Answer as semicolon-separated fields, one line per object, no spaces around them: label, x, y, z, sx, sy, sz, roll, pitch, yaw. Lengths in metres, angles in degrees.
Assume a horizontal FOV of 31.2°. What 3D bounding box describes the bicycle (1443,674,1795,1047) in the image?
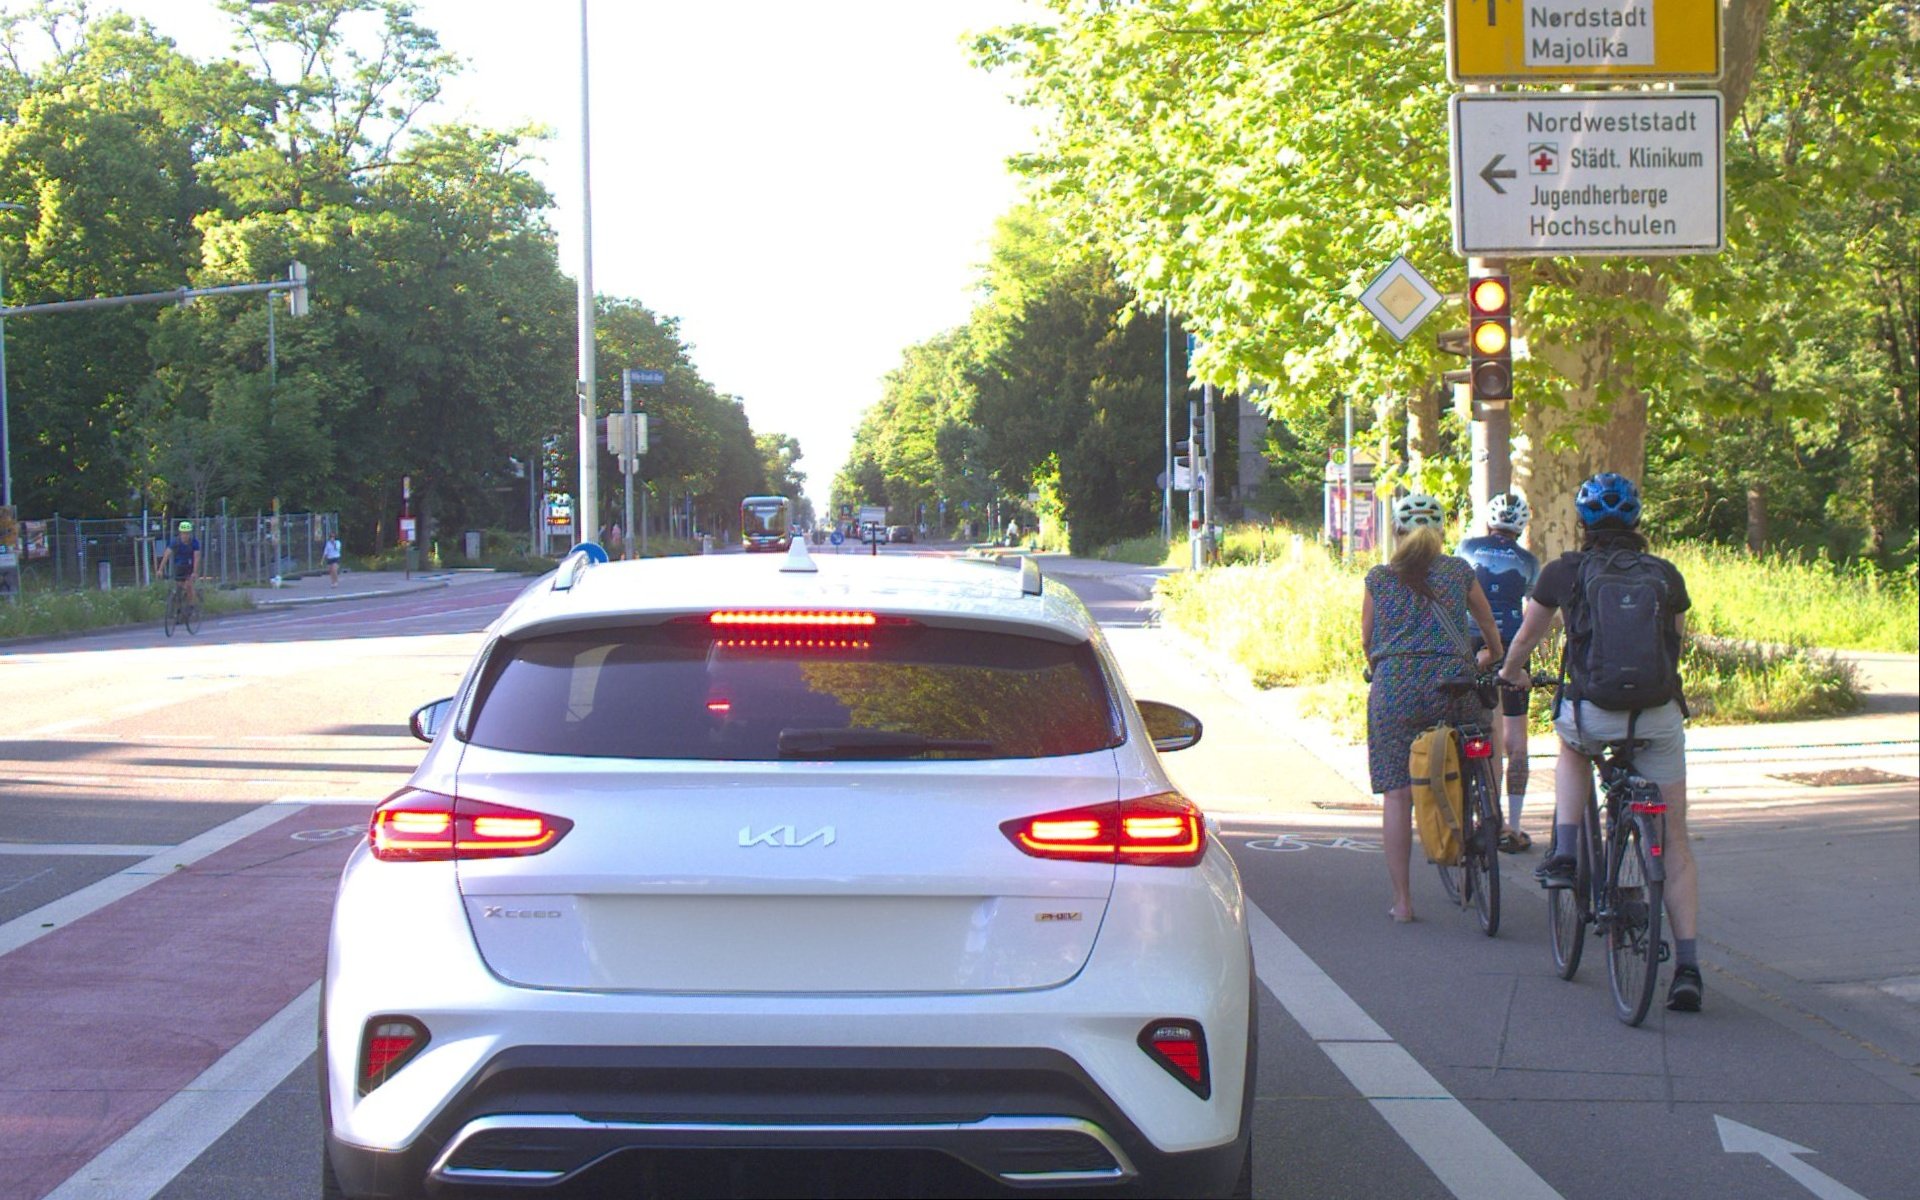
bicycle;2.102;0.797;11.246;0.668;1.006;2.081;1;1;-2

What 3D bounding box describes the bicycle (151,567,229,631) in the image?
bicycle;-12.869;-0.027;57.512;0.663;0.985;2.504;-1;1;2

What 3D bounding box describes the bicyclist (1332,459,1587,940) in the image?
bicyclist;1.936;0.361;13.469;0.753;1.789;1.165;1;1;-2

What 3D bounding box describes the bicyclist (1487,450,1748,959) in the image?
bicyclist;2.120;0.321;11.163;0.665;1.596;0.721;1;1;-2

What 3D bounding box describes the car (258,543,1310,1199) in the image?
car;-0.367;0.625;7.939;1.821;1.475;3.937;0;1;-2

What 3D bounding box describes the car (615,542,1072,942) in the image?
car;-0.516;0.518;15.030;1.728;1.478;3.517;-1;1;-2

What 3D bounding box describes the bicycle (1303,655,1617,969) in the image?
bicycle;1.921;0.780;13.605;0.758;1.009;2.570;1;1;-2

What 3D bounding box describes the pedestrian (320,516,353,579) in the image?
pedestrian;-17.680;-1.490;97.468;0.785;1.779;0.751;0;1;0

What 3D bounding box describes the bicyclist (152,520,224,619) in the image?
bicyclist;-12.882;-0.513;57.402;0.875;1.603;1.188;-1;1;1

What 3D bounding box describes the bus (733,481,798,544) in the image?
bus;-12.018;-5.378;210.889;3.741;3.660;13.243;-1;1;-4

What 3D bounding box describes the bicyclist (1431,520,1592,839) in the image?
bicyclist;2.656;0.370;16.610;0.554;1.473;0.717;-4;1;-2

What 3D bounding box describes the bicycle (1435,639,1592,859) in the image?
bicycle;2.662;0.698;16.649;0.401;0.953;1.551;-4;1;-2
